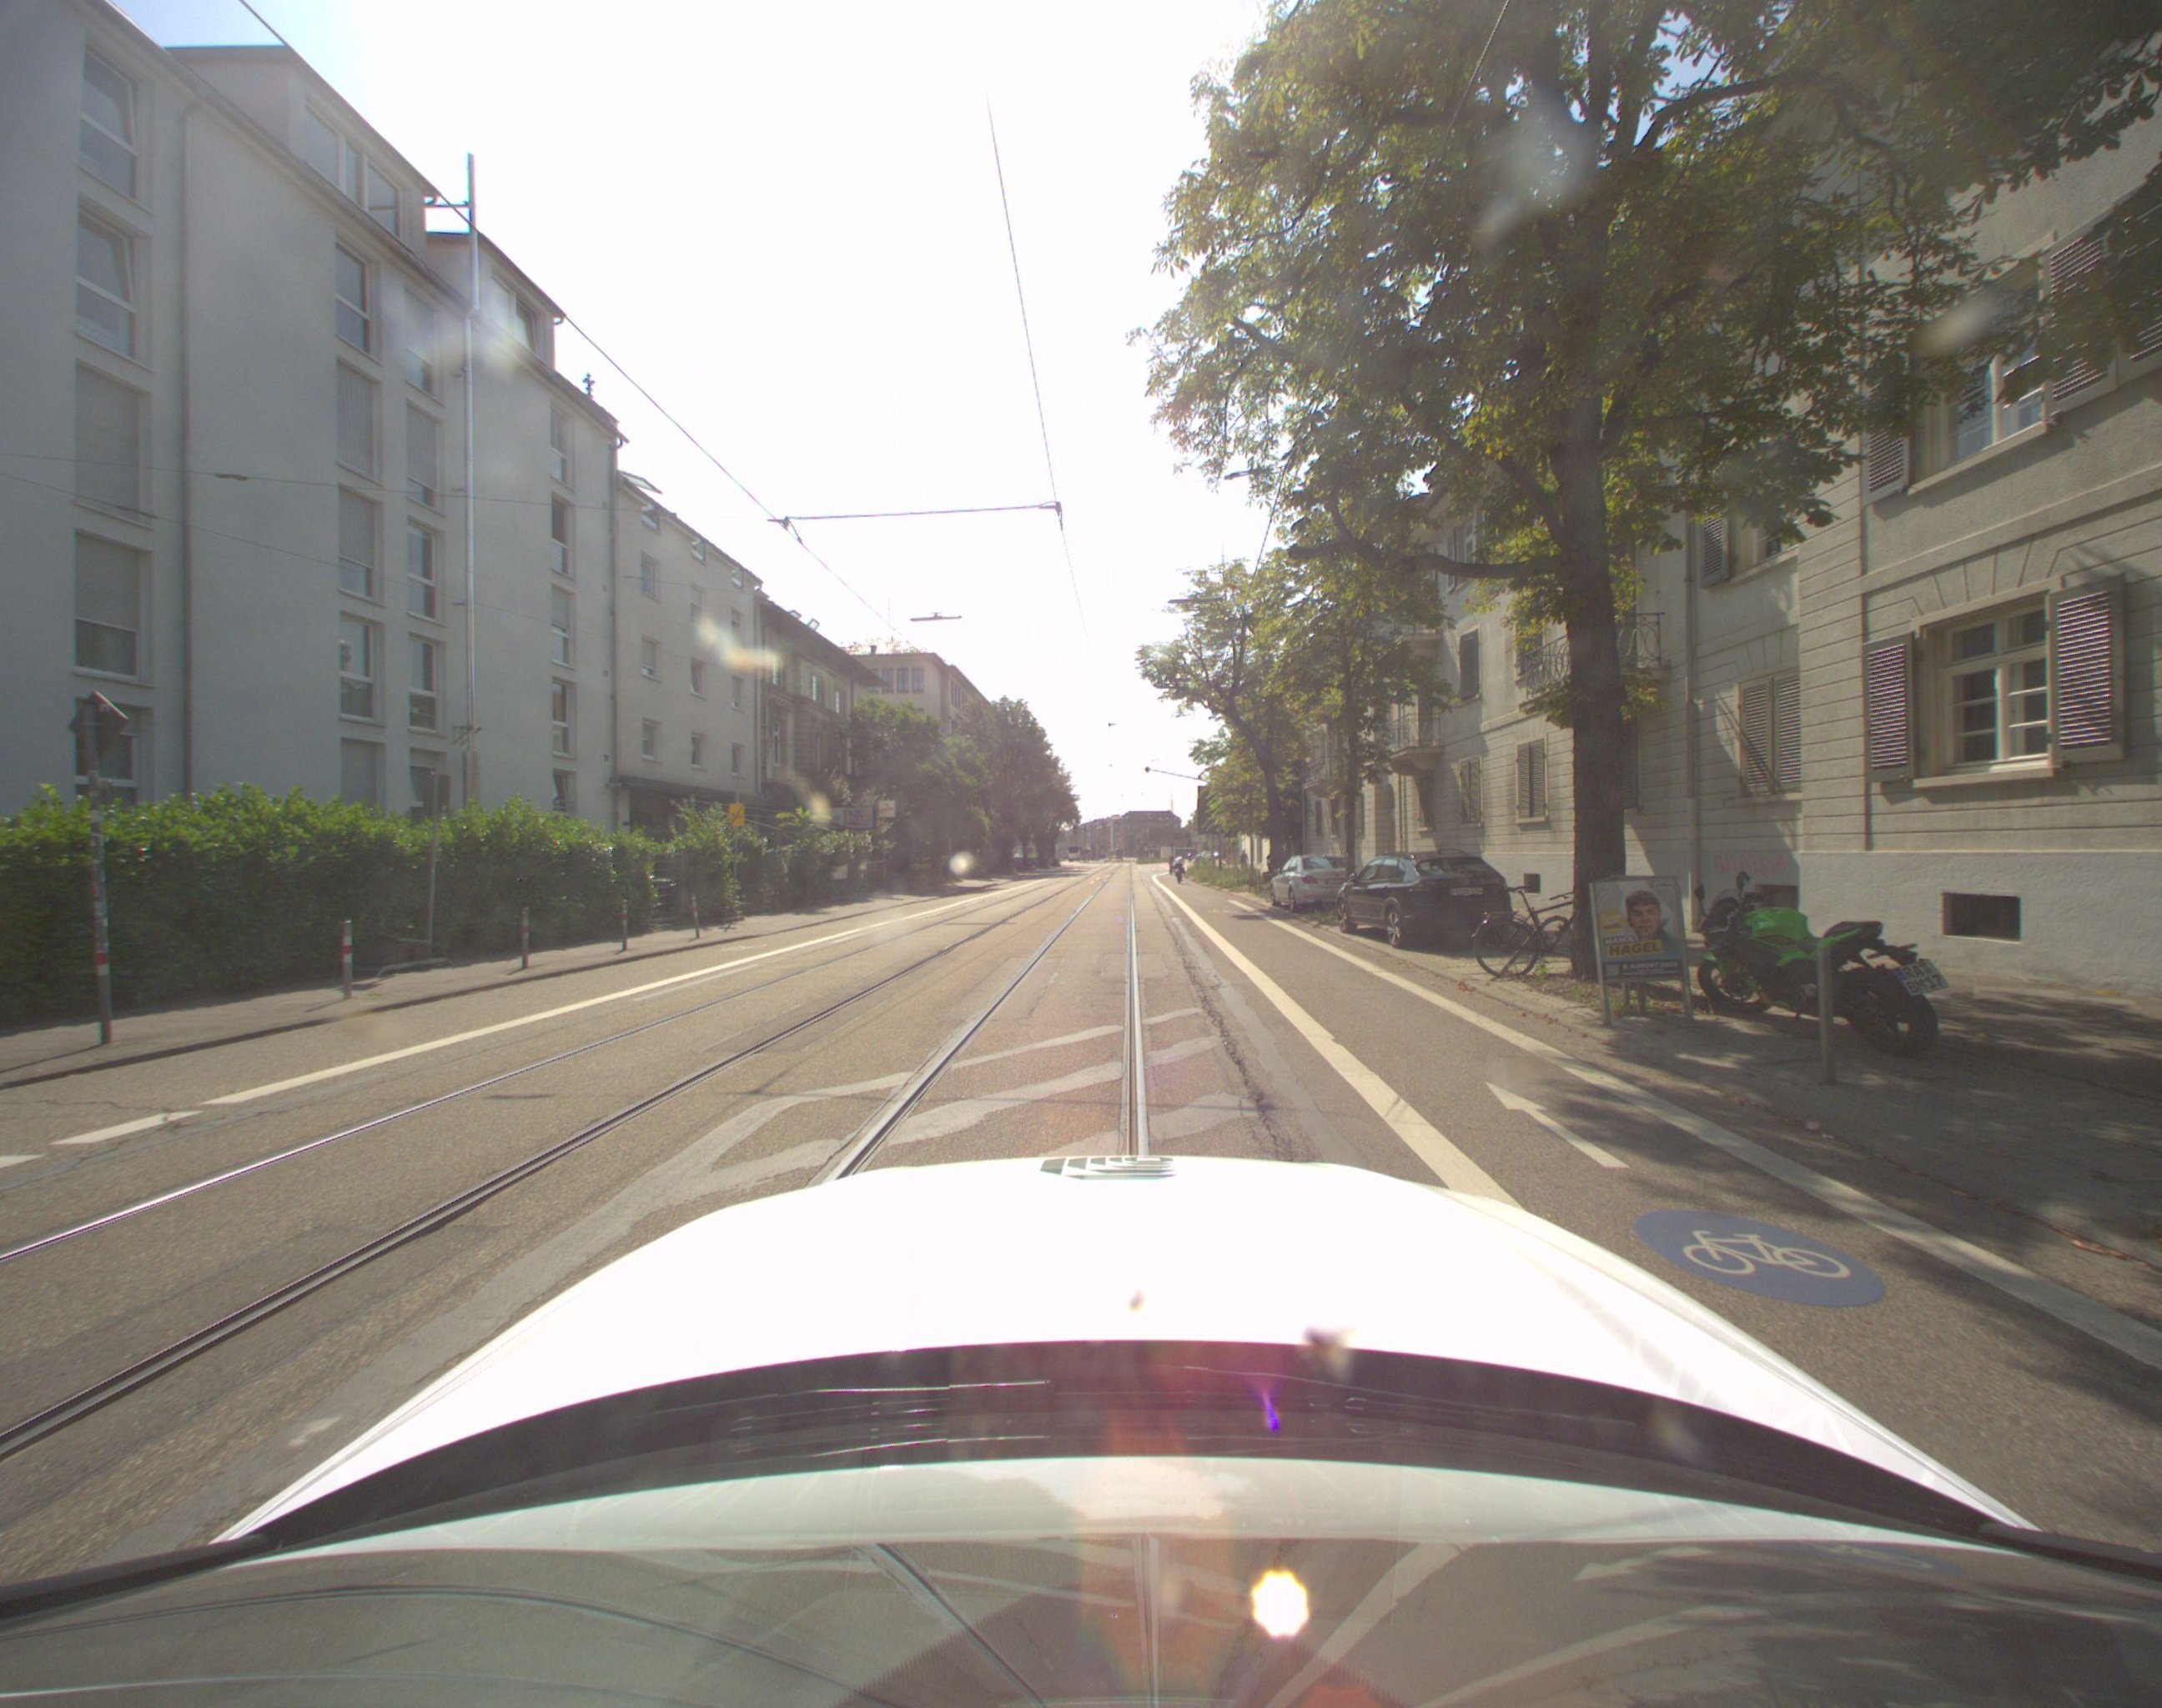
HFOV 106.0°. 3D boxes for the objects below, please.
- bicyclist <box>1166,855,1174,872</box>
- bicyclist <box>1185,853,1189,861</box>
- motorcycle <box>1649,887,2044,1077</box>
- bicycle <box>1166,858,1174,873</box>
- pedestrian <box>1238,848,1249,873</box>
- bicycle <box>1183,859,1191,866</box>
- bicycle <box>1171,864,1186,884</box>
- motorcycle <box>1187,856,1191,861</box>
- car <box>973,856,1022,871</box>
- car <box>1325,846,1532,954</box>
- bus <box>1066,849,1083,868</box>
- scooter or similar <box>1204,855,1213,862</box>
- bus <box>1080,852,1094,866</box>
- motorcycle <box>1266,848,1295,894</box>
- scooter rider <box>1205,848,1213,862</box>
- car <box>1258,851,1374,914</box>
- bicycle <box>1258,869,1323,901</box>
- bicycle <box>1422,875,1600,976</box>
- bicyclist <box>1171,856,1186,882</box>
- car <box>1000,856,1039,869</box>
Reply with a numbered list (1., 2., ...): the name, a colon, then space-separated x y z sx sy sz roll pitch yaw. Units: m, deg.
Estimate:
1. bicyclist: 7.111 0.762 65.235 0.599 1.335 0.661 -1 -1 8
2. bicyclist: 18.065 0.480 138.732 0.445 1.421 0.498 -2 -1 44
3. motorcycle: 5.780 0.874 6.473 0.824 1.111 2.498 -1 0 1
4. bicycle: 7.137 0.942 65.303 0.600 1.163 1.814 -1 0 8
5. pedestrian: 11.484 0.468 57.460 0.688 1.732 0.580 -1 0 5
6. bicycle: 18.056 1.419 138.688 0.440 1.117 1.455 -2 -1 43
7. bicycle: 5.330 1.094 44.624 0.736 1.049 2.235 -1 0 4
8. motorcycle: 23.725 0.971 179.616 0.599 1.210 2.262 -1 0 14
9. car: -8.073 0.885 78.671 4.434 1.462 1.807 0 0 -24
10. car: 5.703 0.674 14.032 1.658 1.507 4.434 -2 0 0
11. bus: -1.223 1.003 170.556 2.945 3.775 10.604 0 0 3
12. scooter or similar: 15.946 0.536 101.518 0.765 0.926 1.629 0 0 21
13. bus: 1.655 1.345 216.073 2.697 3.727 10.433 0 0 5
14. motorcycle: 7.130 0.598 29.233 0.880 1.553 2.419 -2 -1 11
15. scooter rider: 15.955 0.133 101.536 0.755 1.775 0.558 -1 -1 20
16. car: 6.107 0.675 21.759 1.776 1.450 4.752 -2 0 1
17. bicycle: 6.581 0.965 25.648 1.913 0.952 0.722 -1 -1 6
18. bicycle: 5.043 0.829 9.629 1.748 1.123 0.656 -1 0 2
19. bicyclist: 5.339 0.809 44.722 0.741 1.411 0.963 -1 0 4
20. car: -7.067 0.957 94.151 4.180 1.496 1.802 -1 0 -34
